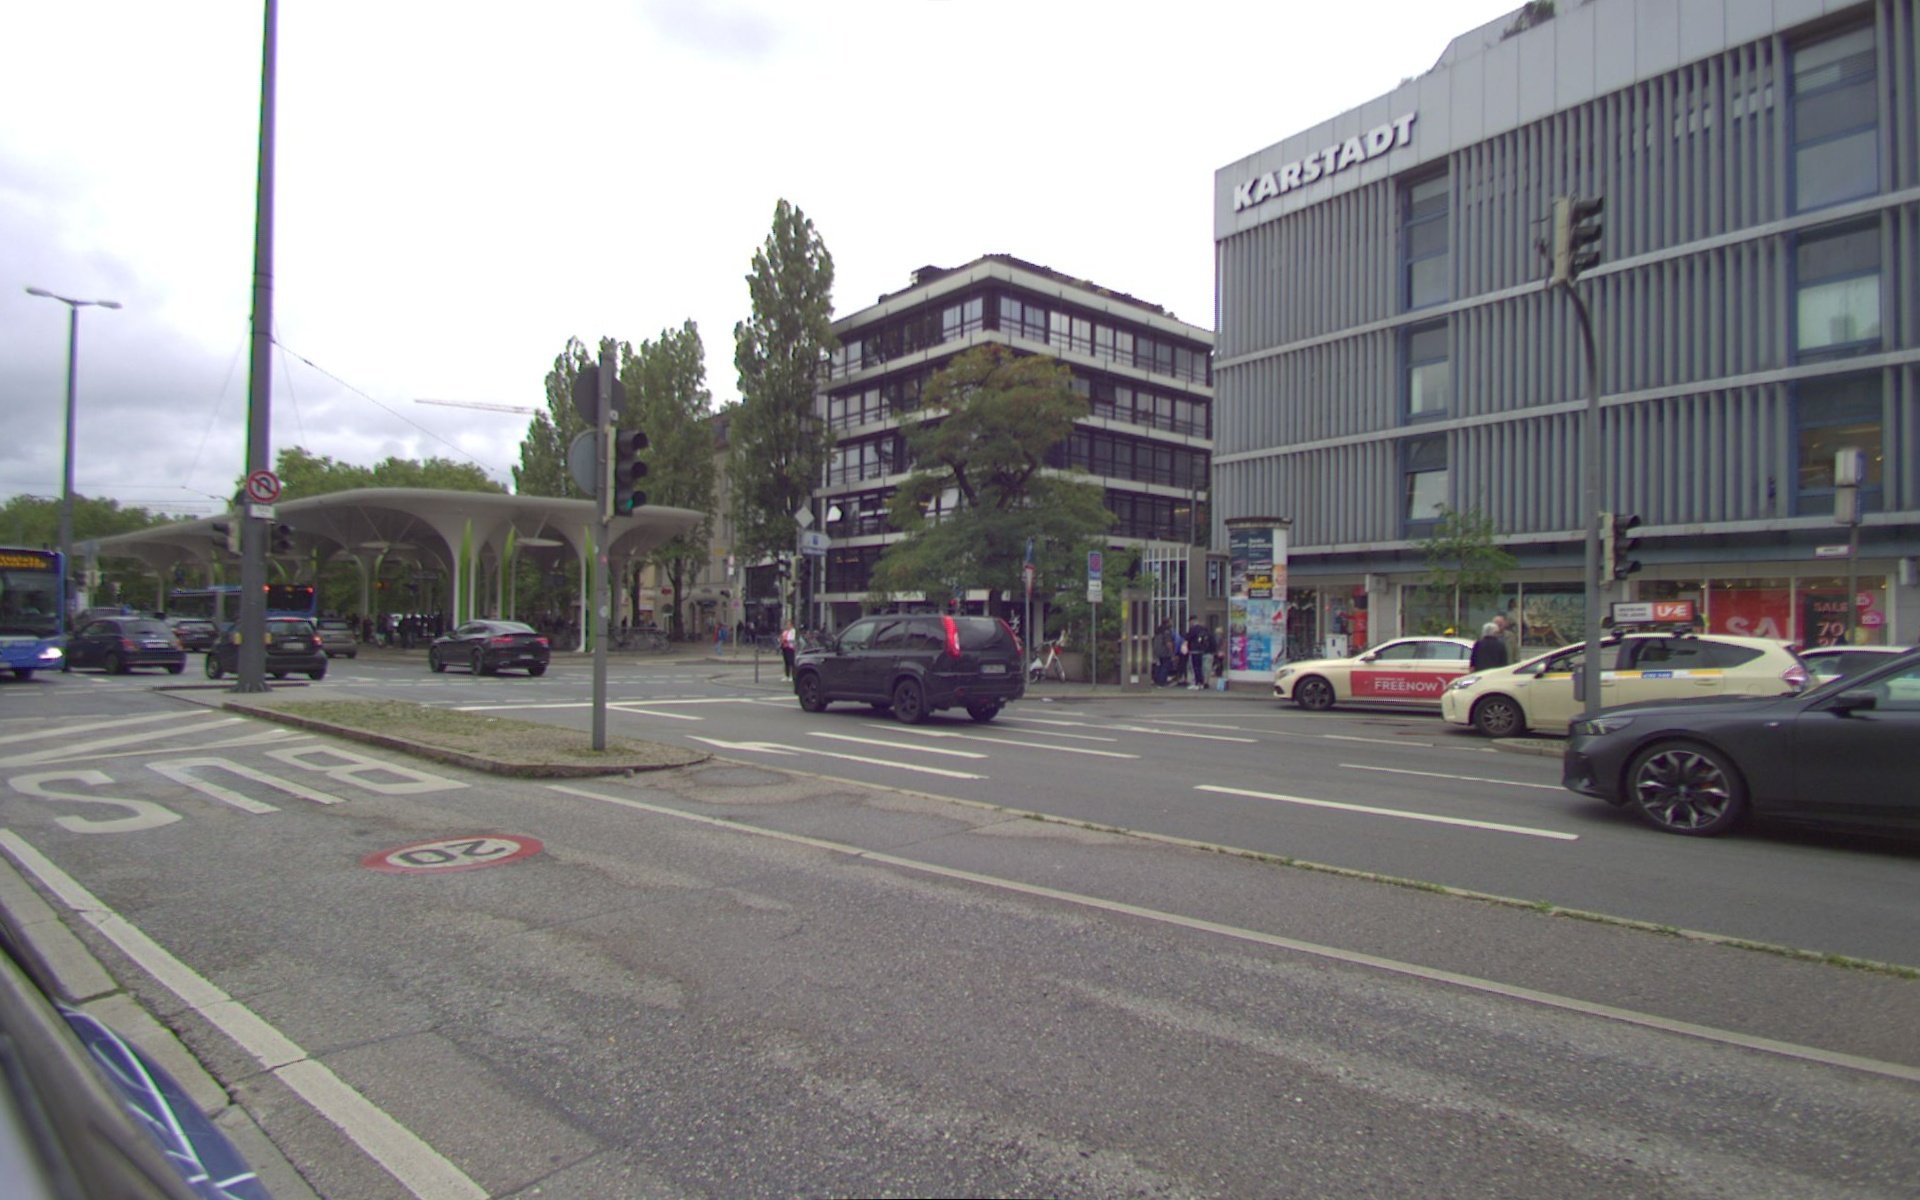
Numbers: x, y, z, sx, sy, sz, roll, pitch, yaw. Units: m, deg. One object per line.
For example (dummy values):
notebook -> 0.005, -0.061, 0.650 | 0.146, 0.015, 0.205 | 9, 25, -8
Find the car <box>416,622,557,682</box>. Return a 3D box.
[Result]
car -> -13.805, 1.464, 29.417 | 4.613, 1.589, 1.973 | -1, -2, 40

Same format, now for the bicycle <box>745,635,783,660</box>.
bicycle -> -8.911, 2.171, 46.086 | 1.661, 1.106, 0.470 | 0, -2, 17

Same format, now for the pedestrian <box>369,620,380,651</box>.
pedestrian -> -28.369, 1.730, 49.052 | 0.316, 1.514, 0.317 | -1, -2, 32

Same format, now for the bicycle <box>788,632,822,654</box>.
bicycle -> -7.847, 2.167, 51.249 | 1.661, 1.106, 0.470 | 0, -2, 17

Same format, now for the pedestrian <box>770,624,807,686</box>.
pedestrian -> -4.487, 1.431, 26.515 | 0.754, 1.563, 0.636 | 0, 0, 16

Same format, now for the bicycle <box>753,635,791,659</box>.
bicycle -> -8.704, 2.170, 46.864 | 1.661, 1.106, 0.470 | 0, -2, 17

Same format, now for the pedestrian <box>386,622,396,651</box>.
pedestrian -> -27.606, 1.766, 49.080 | 0.270, 1.387, 0.299 | -1, -2, 39

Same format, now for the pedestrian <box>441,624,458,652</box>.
pedestrian -> -25.305, 1.877, 50.151 | 0.591, 1.348, 0.542 | -1, -2, 41

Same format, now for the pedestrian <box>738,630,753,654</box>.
pedestrian -> -15.010, 2.946, 70.903 | 0.821, 1.712, 0.907 | 1, -2, -27

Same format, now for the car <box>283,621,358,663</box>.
car -> -24.475, 1.586, 38.728 | 2.744, 1.527, 1.653 | -1, -2, 40

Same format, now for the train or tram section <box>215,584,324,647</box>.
train or tram section -> -35.400, 0.807, 51.776 | 7.404, 3.024, 2.803 | -1, -2, 41

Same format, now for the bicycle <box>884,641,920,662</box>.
bicycle -> -3.167, 2.807, 55.446 | 2.044, 1.142, 0.562 | 2, -2, -43

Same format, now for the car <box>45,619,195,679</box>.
car -> -22.000, 1.264, 26.514 | 3.366, 1.491, 1.616 | 0, -3, 23

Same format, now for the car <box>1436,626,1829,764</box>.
car -> 9.336, 1.213, 14.316 | 4.475, 1.624, 1.570 | -1, -2, 41

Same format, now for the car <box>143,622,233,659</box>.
car -> -31.778, 1.649, 41.628 | 4.612, 1.427, 1.973 | -1, -2, 40

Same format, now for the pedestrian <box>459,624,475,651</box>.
pedestrian -> -24.746, 1.881, 50.792 | 0.591, 1.348, 0.542 | -1, -2, 41

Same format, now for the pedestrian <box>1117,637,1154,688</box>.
pedestrian -> 4.639, 1.643, 26.751 | 0.774, 1.318, 0.537 | -1, -2, 42

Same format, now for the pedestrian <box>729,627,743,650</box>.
pedestrian -> -17.243, 2.944, 77.852 | 0.788, 1.737, 0.828 | 2, -2, -37

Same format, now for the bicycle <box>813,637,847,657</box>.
bicycle -> -7.741, 2.805, 60.209 | 2.044, 1.142, 0.562 | 2, -2, -43

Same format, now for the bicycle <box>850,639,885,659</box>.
bicycle -> -5.285, 2.806, 57.833 | 2.044, 1.142, 0.562 | 2, -2, -43

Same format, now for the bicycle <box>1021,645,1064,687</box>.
bicycle -> 2.105, 1.675, 25.783 | 0.419, 1.024, 1.281 | -1, -3, 39

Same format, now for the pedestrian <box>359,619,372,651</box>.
pedestrian -> -28.711, 1.697, 48.885 | 0.419, 1.514, 0.491 | 1, -2, -23

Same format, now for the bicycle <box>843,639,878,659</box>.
bicycle -> -5.712, 2.806, 58.262 | 2.044, 1.142, 0.562 | 2, -2, -43

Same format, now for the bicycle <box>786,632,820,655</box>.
bicycle -> -7.840, 2.168, 50.534 | 1.661, 1.106, 0.470 | 0, -2, 17

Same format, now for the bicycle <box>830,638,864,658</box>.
bicycle -> -6.579, 2.805, 59.142 | 2.044, 1.142, 0.562 | 2, -2, -43

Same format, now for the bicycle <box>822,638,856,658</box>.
bicycle -> -7.121, 2.805, 59.642 | 2.044, 1.142, 0.562 | 2, -2, -43

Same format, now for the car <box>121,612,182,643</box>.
car -> -44.381, 1.507, 55.525 | 3.999, 1.597, 1.907 | -1, -2, 42

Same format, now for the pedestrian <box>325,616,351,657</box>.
pedestrian -> -26.915, 1.579, 43.802 | 0.788, 1.762, 0.702 | -1, -3, 41

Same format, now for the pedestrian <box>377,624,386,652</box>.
pedestrian -> -27.848, 1.825, 48.714 | 0.312, 1.353, 0.340 | 2, -2, -32

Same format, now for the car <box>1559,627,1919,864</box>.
car -> 7.212, 0.973, 6.967 | 5.022, 1.519, 1.971 | -1, -3, 43

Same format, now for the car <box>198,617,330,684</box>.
car -> -16.995, 1.206, 24.710 | 2.776, 1.518, 1.547 | 0, -2, 29

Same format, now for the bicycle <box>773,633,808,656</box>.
bicycle -> -8.246, 2.169, 49.184 | 1.661, 1.106, 0.470 | 0, -2, 17

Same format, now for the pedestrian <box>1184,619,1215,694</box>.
pedestrian -> 5.816, 1.353, 24.560 | 0.510, 1.792, 0.555 | 0, 0, 44

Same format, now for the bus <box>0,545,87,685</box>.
bus -> -24.844, 0.308, 24.670 | 11.191, 2.966, 2.908 | 0, -1, 36

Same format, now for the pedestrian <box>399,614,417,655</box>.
pedestrian -> -25.227, 1.579, 46.222 | 0.656, 1.865, 0.790 | 2, -2, -29

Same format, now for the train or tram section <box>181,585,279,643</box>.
train or tram section -> -40.955, 0.810, 56.685 | 7.404, 3.024, 2.803 | -1, -2, 41

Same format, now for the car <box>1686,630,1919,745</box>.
car -> 13.566, 1.268, 15.276 | 4.001, 1.579, 1.885 | -1, -2, 44

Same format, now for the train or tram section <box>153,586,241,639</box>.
train or tram section -> -46.505, 0.810, 61.576 | 7.404, 3.024, 2.803 | -1, -2, 41

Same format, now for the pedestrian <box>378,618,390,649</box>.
pedestrian -> -27.967, 1.629, 49.138 | 0.316, 1.514, 0.331 | -1, -2, 32

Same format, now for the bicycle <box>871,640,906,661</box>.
bicycle -> -4.003, 2.806, 56.466 | 2.044, 1.142, 0.562 | 2, -2, -43

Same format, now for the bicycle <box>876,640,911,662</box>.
bicycle -> -3.672, 2.807, 55.947 | 2.044, 1.142, 0.562 | 2, -2, -43

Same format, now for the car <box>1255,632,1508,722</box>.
car -> 8.009, 1.394, 19.367 | 4.277, 1.522, 1.842 | 0, -2, 28

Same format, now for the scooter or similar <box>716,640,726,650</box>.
scooter or similar -> -18.383, 3.439, 77.698 | 0.511, 0.720, 0.681 | 2, -2, -38

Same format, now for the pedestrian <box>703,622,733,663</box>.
pedestrian -> -10.826, 1.895, 45.288 | 0.980, 1.791, 0.849 | -1, -2, 42

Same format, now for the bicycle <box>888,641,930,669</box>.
bicycle -> -1.937, 2.073, 38.522 | 1.751, 1.006, 0.503 | -1, -2, 43

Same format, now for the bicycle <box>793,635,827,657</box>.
bicycle -> -7.729, 2.378, 52.184 | 1.655, 1.106, 0.472 | 0, -2, 8

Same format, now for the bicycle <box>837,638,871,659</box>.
bicycle -> -6.131, 2.806, 58.713 | 2.044, 1.142, 0.562 | 2, -2, -43

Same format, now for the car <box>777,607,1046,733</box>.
car -> -0.933, 1.057, 16.753 | 1.969, 1.791, 4.604 | 2, -2, -42

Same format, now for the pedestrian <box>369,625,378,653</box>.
pedestrian -> -28.062, 1.851, 48.410 | 0.312, 1.353, 0.340 | 2, -2, -32

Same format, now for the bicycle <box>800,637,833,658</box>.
bicycle -> -7.595, 2.494, 53.446 | 1.655, 1.106, 0.472 | 0, -2, 8

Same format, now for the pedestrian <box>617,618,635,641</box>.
pedestrian -> -27.242, 2.409, 82.490 | 0.948, 1.786, 0.974 | 0, -2, 26

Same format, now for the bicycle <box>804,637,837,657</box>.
bicycle -> -8.360, 2.805, 60.775 | 2.044, 1.142, 0.562 | 2, -2, -43

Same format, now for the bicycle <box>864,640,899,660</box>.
bicycle -> -4.412, 2.806, 56.929 | 2.044, 1.142, 0.562 | 2, -2, -43

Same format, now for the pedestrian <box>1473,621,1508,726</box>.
pedestrian -> 8.567, 1.172, 16.336 | 0.425, 1.668, 0.360 | 0, 0, 41

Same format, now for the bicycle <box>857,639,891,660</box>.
bicycle -> -4.877, 2.806, 57.413 | 2.044, 1.142, 0.562 | 2, -2, -43

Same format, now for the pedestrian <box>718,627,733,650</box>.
pedestrian -> -17.863, 2.947, 77.164 | 0.788, 1.737, 0.828 | 2, -2, -37

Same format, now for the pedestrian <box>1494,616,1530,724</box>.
pedestrian -> 9.187, 1.146, 16.828 | 0.428, 1.742, 0.518 | 0, 0, 41

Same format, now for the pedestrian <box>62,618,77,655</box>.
pedestrian -> -34.527, 1.416, 39.218 | 0.380, 1.430, 0.352 | -1, -3, 41
